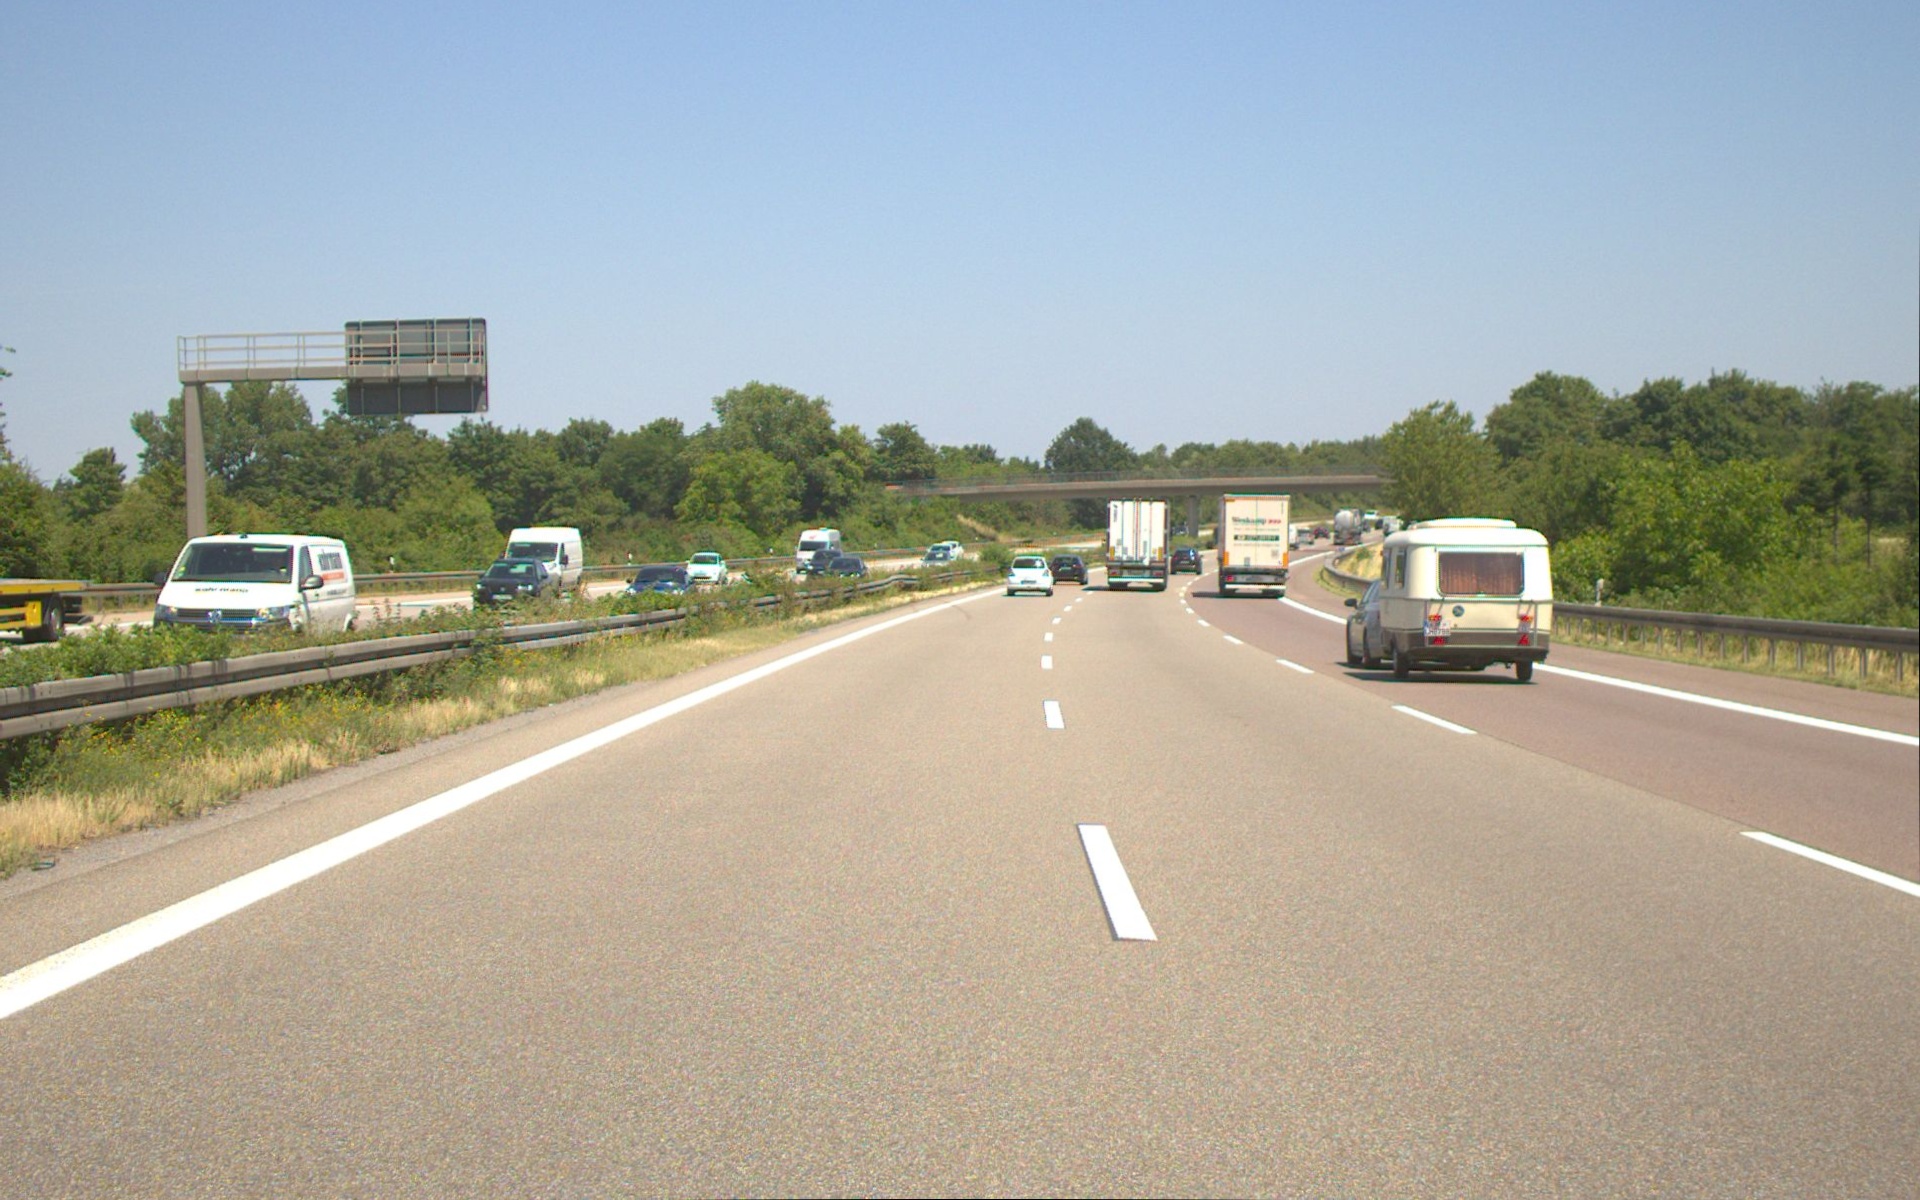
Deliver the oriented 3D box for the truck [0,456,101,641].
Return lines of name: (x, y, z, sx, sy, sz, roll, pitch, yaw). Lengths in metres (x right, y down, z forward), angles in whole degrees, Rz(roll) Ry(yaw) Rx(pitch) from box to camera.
truck: (-17.557, -0.903, 60.488, 2.521, 3.141, 9.668, 0, 1, 0)

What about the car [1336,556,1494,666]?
car: (6.989, 0.127, 53.261, 1.887, 1.510, 5.380, 1, 2, 2)

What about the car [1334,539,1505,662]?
car: (7.014, -0.039, 52.999, 2.045, 1.652, 5.510, 0, 2, 2)

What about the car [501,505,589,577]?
car: (-14.609, -2.062, 121.314, 2.131, 2.469, 6.333, 0, 1, 2)

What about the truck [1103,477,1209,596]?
truck: (8.911, -2.982, 154.401, 3.667, 5.001, 16.014, 1, 2, 7)

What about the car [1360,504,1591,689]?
car: (7.012, -0.117, 47.354, 2.442, 2.313, 5.322, -1, 2, 1)

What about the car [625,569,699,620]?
car: (-8.064, -0.167, 93.311, 1.631, 1.349, 3.829, 0, 1, 1)

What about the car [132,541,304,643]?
car: (-13.196, -0.172, 61.412, 1.993, 1.730, 4.814, 0, 1, 0)

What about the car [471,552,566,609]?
car: (-11.950, -0.550, 93.255, 1.979, 1.505, 4.235, 0, 1, 1)

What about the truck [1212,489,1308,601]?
truck: (12.374, -2.383, 140.778, 3.182, 4.289, 16.014, 1, 2, 7)

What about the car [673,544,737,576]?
car: (-12.025, -1.887, 162.544, 1.994, 1.453, 4.086, 1, 1, 11)

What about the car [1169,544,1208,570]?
car: (14.135, -2.686, 212.267, 1.829, 1.541, 4.317, 1, 1, 11)

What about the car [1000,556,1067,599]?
car: (2.841, -0.894, 132.318, 1.829, 1.541, 4.317, 1, 1, 11)

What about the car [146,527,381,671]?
car: (-9.550, -0.054, 47.628, 1.993, 1.875, 5.722, 0, 1, 1)
